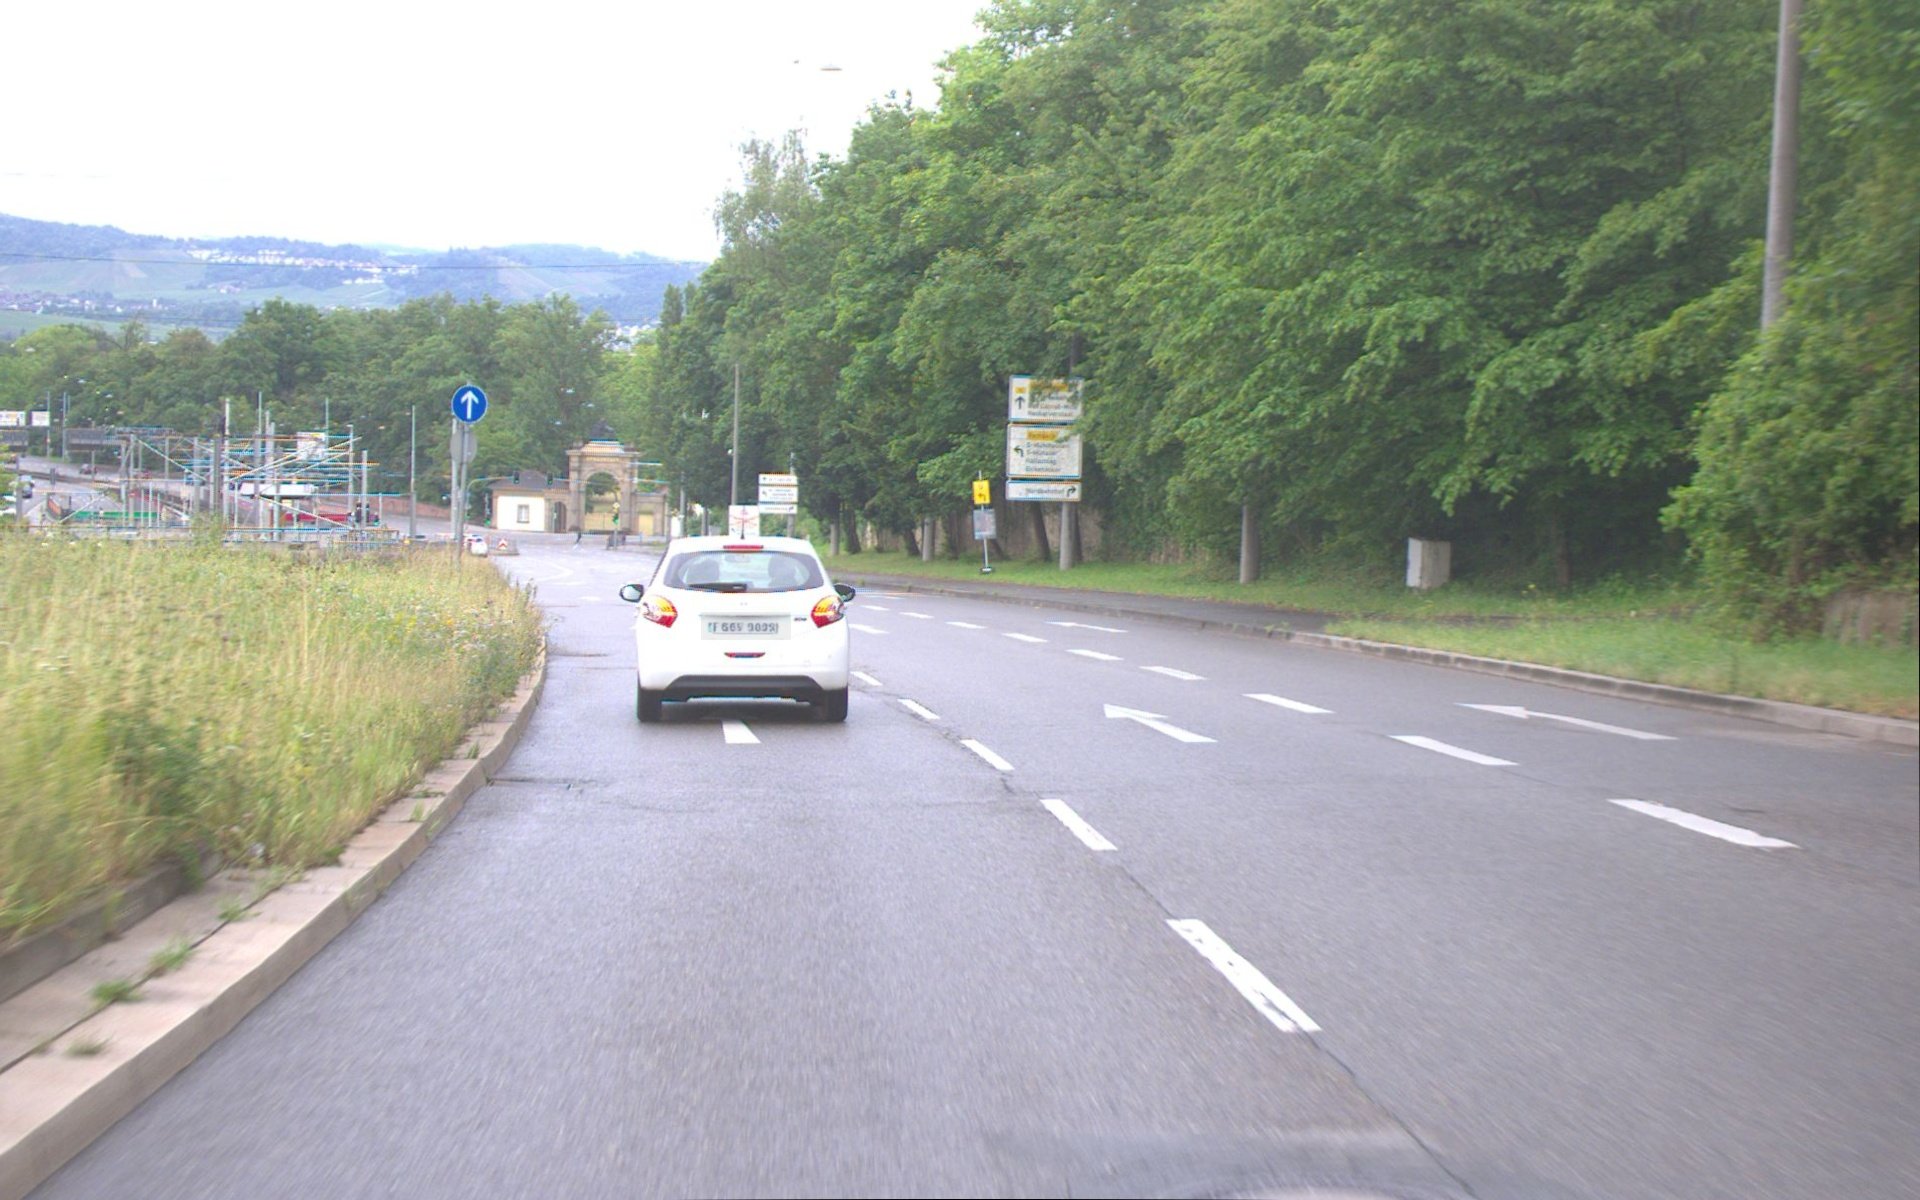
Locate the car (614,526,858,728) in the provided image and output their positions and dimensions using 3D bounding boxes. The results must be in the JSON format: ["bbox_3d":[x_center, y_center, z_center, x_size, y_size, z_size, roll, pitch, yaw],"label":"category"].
[{"bbox_3d":[-1.854,0.164,28.354,1.868,1.505,3.900,0,2,-4],"label":"car"}]

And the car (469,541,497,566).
[{"bbox_3d":[-32.784,-3.198,236.270,1.822,1.600,4.001,-1,2,-7],"label":"car"}]
